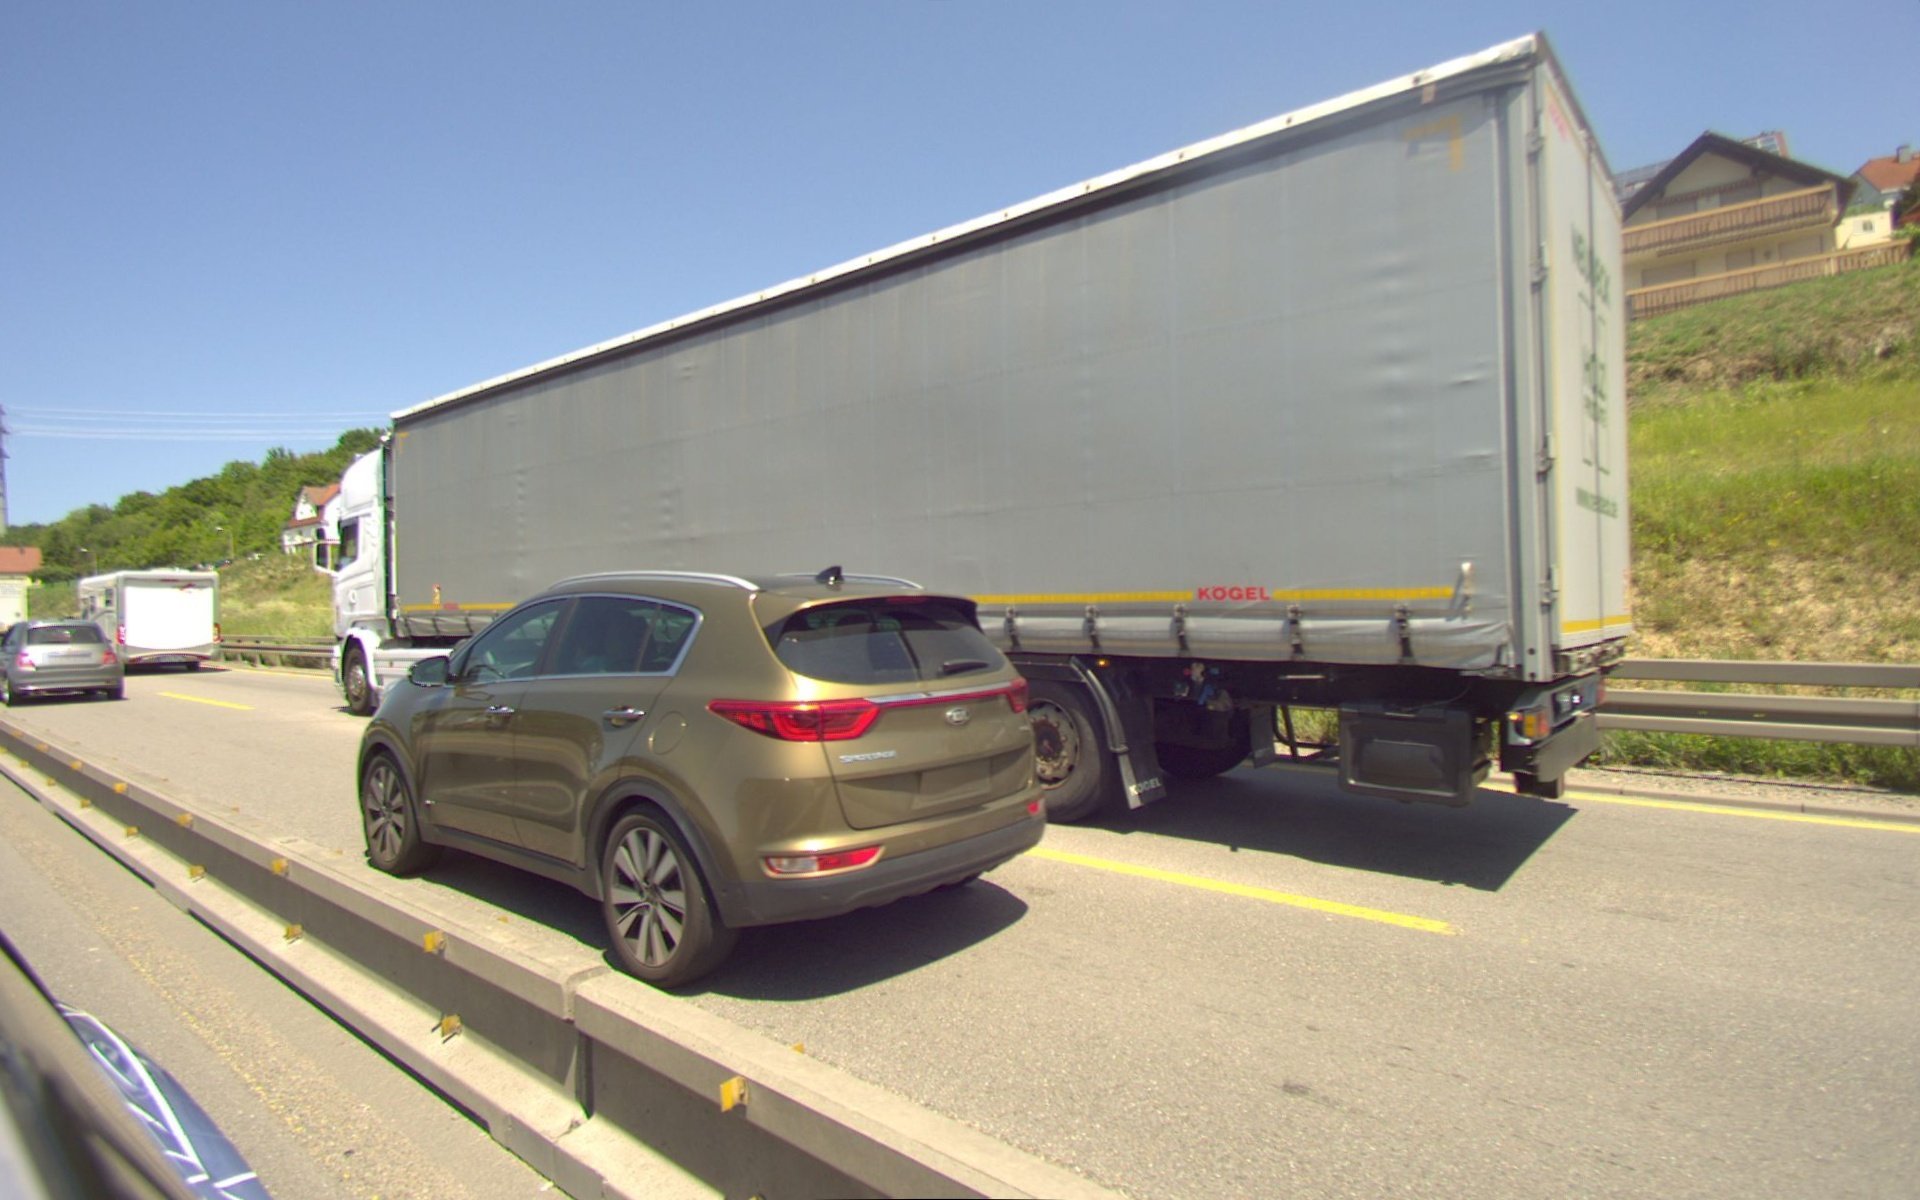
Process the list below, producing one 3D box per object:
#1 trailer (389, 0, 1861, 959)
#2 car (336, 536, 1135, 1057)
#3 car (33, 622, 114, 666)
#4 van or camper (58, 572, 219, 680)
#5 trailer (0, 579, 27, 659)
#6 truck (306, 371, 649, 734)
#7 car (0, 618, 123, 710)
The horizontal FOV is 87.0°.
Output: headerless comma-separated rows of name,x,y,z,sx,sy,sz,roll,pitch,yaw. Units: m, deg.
trailer,-1.069,-0.682,9.482,14.025,4.319,2.782,-1,0,40
car,-1.404,0.630,5.169,4.171,1.598,1.830,-1,0,40
car,-33.464,1.632,38.160,4.261,1.563,1.699,-2,-1,40
van or camper,-24.004,0.747,29.426,7.511,2.798,2.310,-2,-1,40
trailer,-55.438,1.156,56.917,13.428,4.155,2.827,-2,-1,41
truck,-7.041,-0.543,14.596,4.673,4.319,2.746,-1,0,40
car,-16.760,1.108,18.561,3.377,1.490,1.612,-1,0,40
